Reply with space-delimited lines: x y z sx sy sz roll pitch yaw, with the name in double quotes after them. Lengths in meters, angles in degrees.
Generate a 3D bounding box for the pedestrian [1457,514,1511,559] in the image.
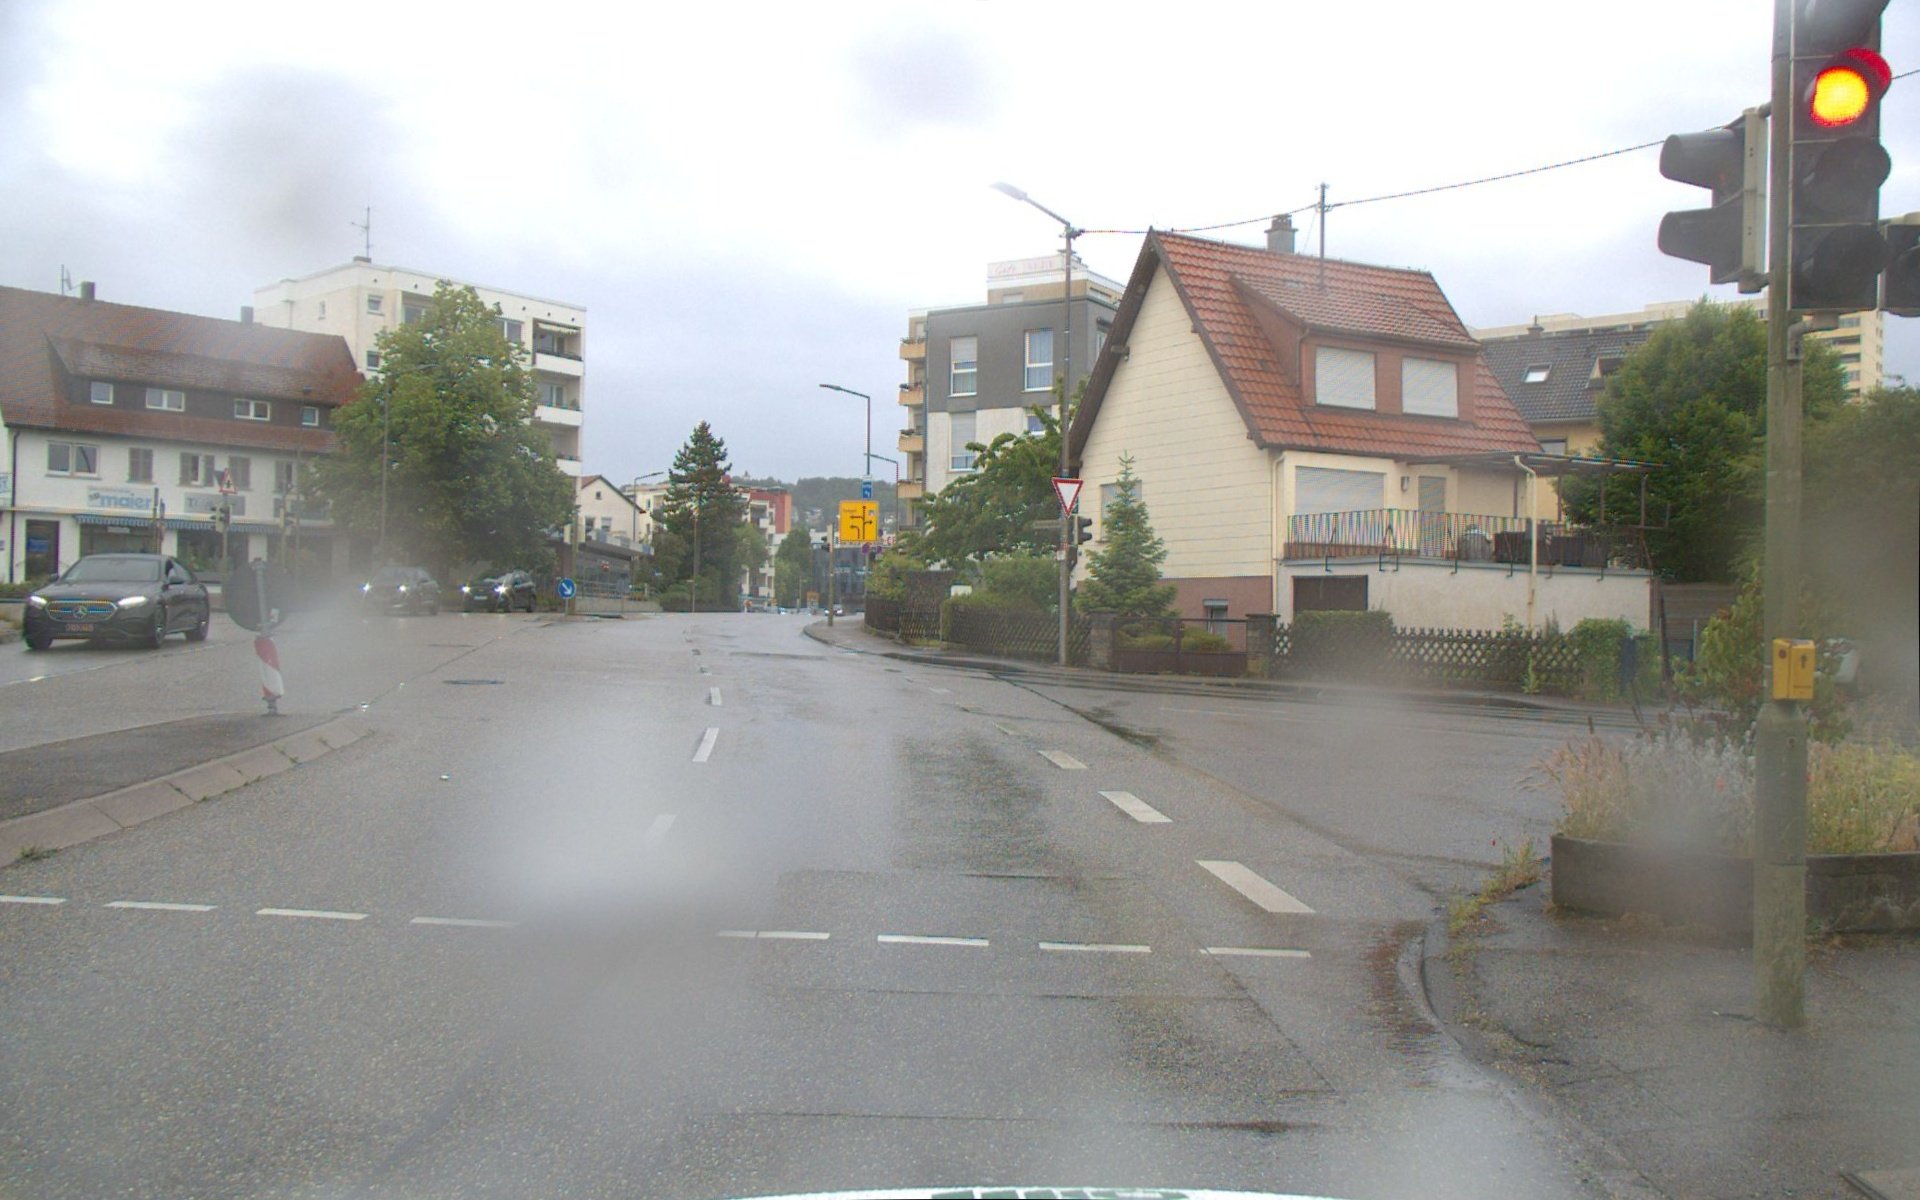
11.153 -1.341 35.182 0.902 0.898 0.632 1 -2 -20 "pedestrian"

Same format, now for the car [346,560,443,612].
-17.759 -0.431 52.098 1.928 1.538 3.996 1 0 -5 "car"

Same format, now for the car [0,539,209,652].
-13.820 -0.054 26.940 1.959 1.653 4.524 1 0 -13 "car"

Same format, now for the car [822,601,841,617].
-14.652 1.018 188.798 1.956 1.768 5.173 1 0 -7 "car"

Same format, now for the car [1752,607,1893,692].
15.623 0.859 29.880 1.780 1.386 3.986 1 0 35 "car"

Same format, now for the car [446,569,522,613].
-18.286 -0.336 63.709 1.841 1.625 4.182 1 0 -2 "car"
